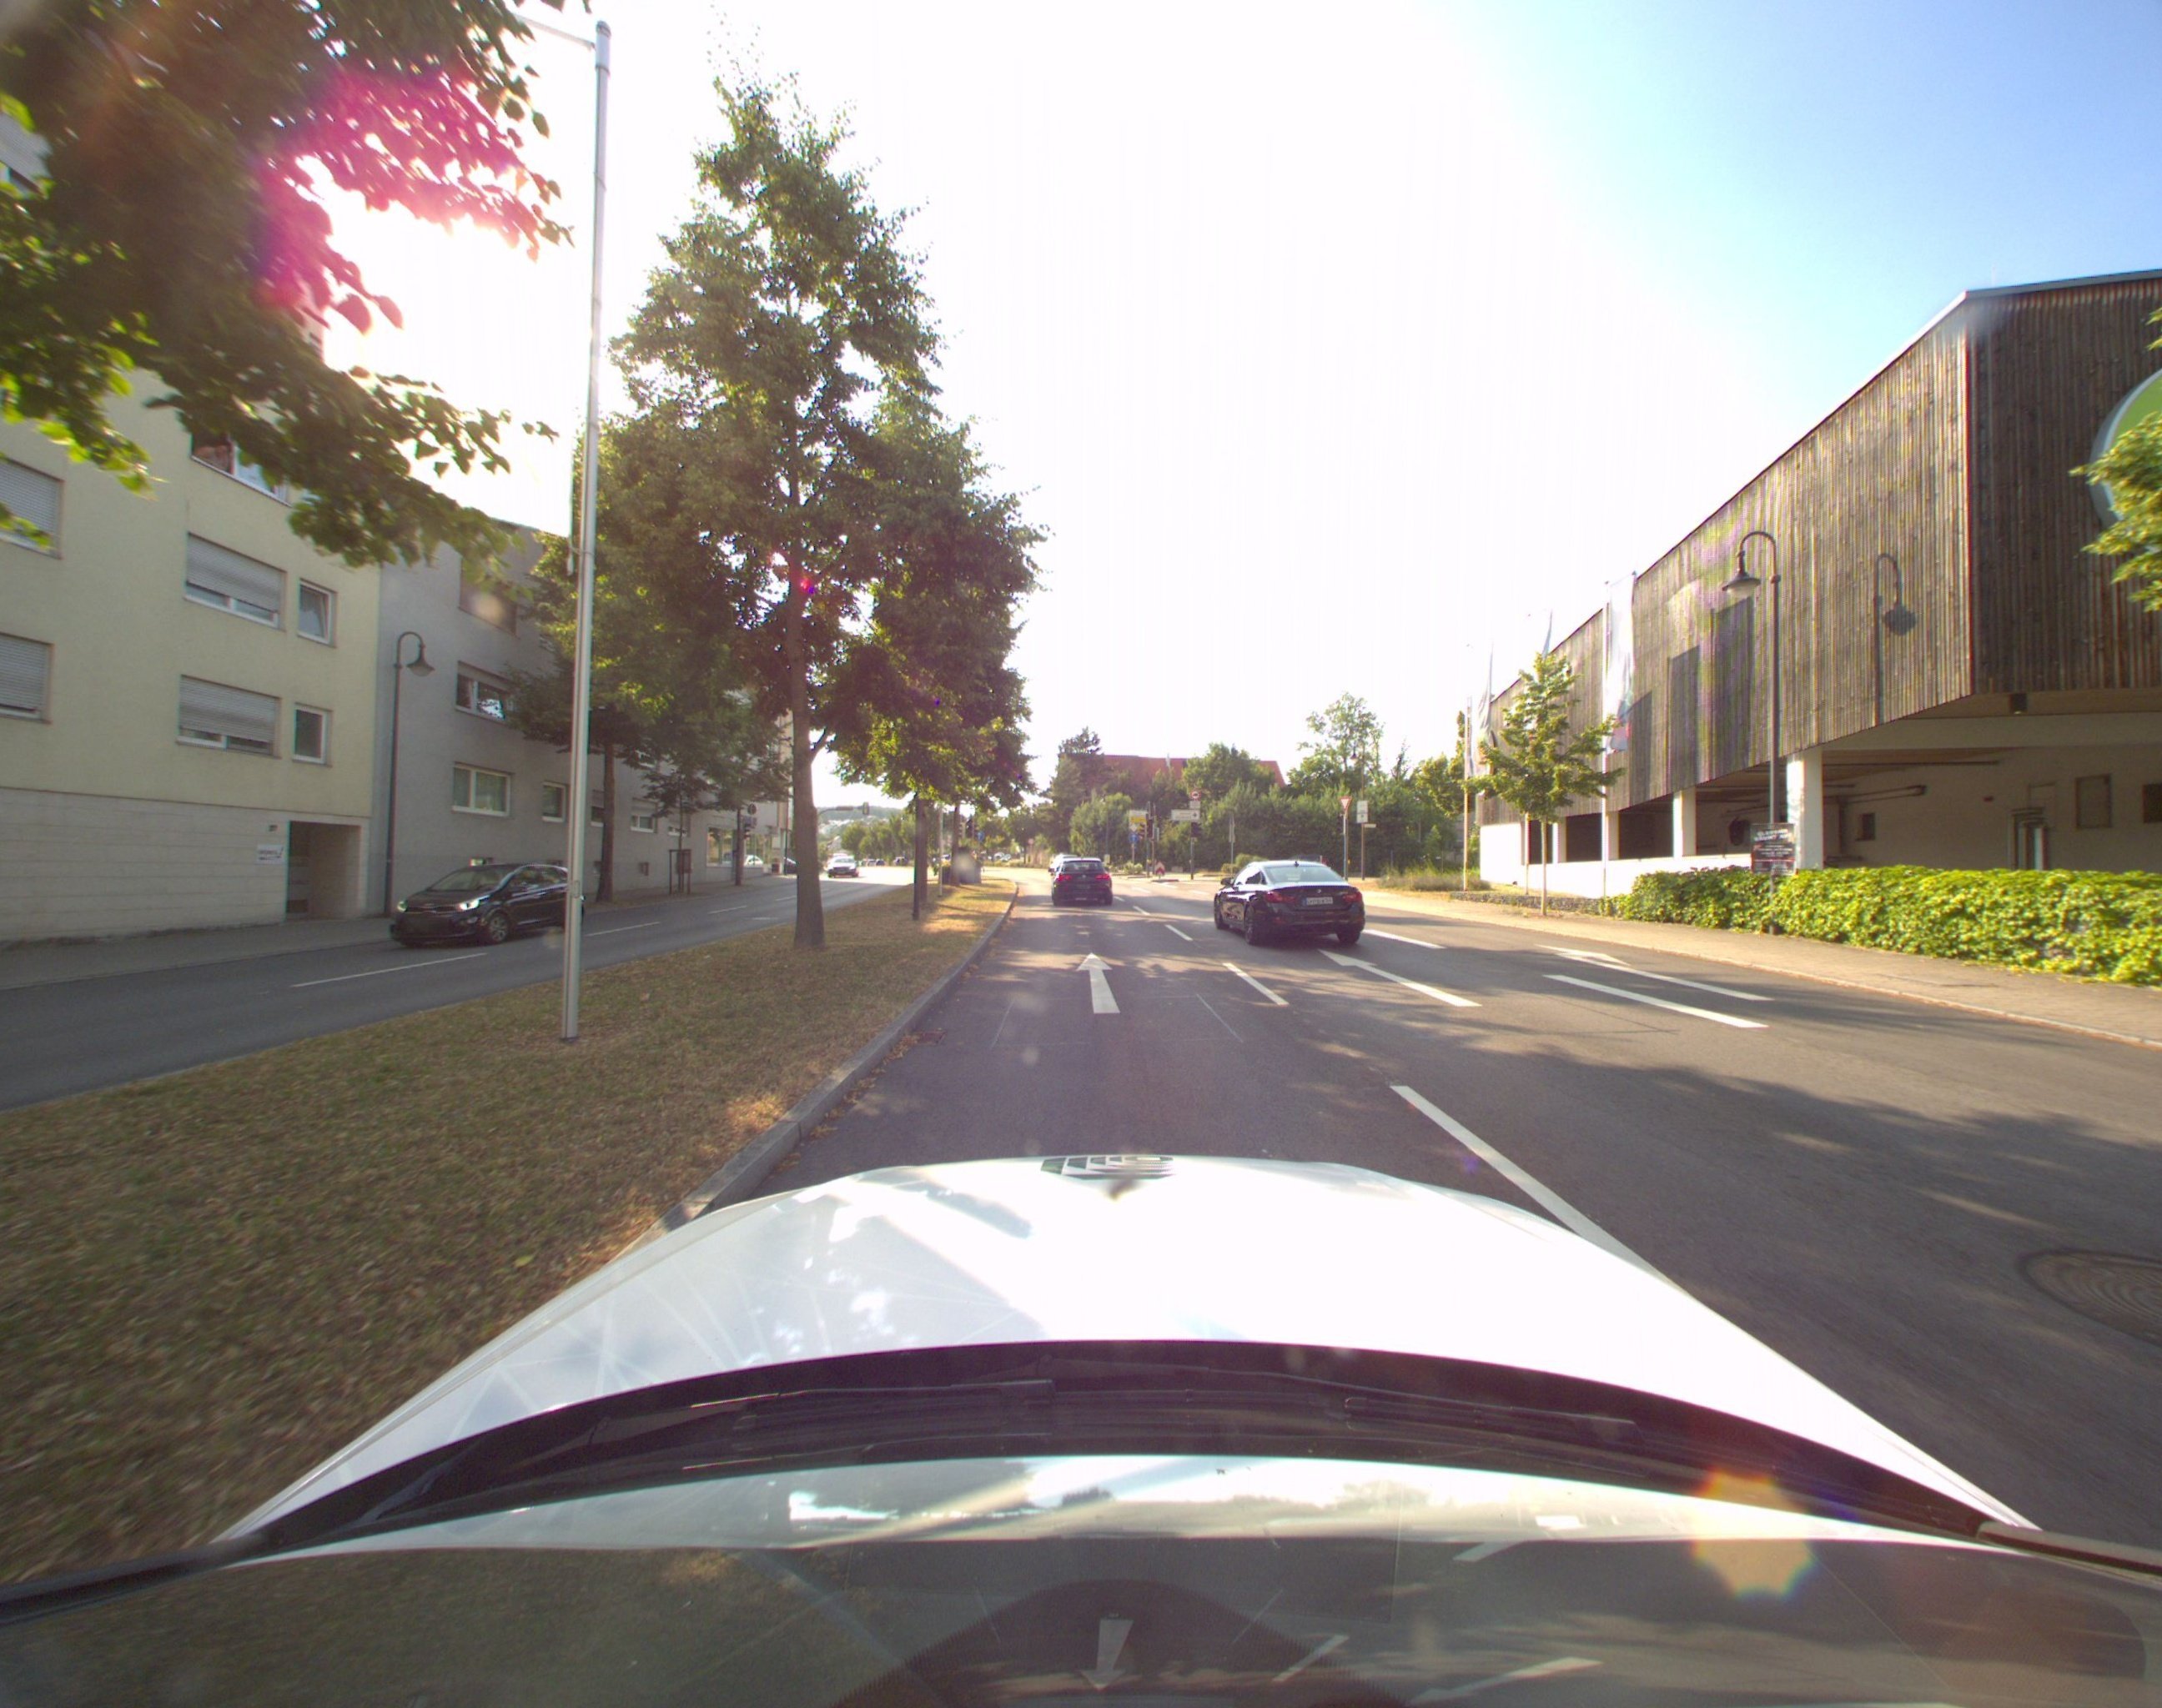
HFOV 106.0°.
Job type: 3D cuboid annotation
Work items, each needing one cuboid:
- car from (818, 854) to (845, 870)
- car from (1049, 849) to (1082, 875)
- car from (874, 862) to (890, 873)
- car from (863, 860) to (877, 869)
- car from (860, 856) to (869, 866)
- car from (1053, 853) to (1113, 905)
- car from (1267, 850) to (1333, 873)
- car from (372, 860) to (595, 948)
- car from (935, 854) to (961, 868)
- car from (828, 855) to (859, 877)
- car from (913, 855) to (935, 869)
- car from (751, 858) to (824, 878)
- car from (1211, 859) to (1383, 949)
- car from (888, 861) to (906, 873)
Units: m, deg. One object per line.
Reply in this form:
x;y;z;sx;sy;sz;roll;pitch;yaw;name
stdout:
-28.771;0.911;93.867;1.864;1.736;4.874;-1;-1;-31;car
-1.126;0.544;56.646;1.922;1.769;4.445;0;0;-6;car
-36.381;2.453;148.710;2.225;1.859;4.422;0;0;-22;car
-42.880;2.208;165.642;2.225;1.769;4.422;0;0;-22;car
-47.419;1.531;178.378;1.777;2.014;3.977;0;0;-17;car
0.127;0.734;25.606;1.714;1.490;4.354;0;0;2;car
15.753;0.522;58.671;4.216;1.567;1.804;0;0;30;car
-11.355;0.871;15.837;1.601;1.486;3.782;-1;0;-1;car
-16.525;0.862;101.113;2.225;1.769;4.422;0;0;-22;car
-16.647;0.832;57.320;1.855;1.486;4.972;-1;0;-14;car
-22.027;1.117;114.128;2.225;1.769;4.422;0;0;-22;car
-21.992;1.049;61.132;4.861;1.436;1.910;-1;-1;-12;car
3.675;0.792;14.722;1.915;1.364;4.351;-1;-1;-1;car
-29.527;2.086;130.587;2.225;1.769;4.422;0;0;-22;car
